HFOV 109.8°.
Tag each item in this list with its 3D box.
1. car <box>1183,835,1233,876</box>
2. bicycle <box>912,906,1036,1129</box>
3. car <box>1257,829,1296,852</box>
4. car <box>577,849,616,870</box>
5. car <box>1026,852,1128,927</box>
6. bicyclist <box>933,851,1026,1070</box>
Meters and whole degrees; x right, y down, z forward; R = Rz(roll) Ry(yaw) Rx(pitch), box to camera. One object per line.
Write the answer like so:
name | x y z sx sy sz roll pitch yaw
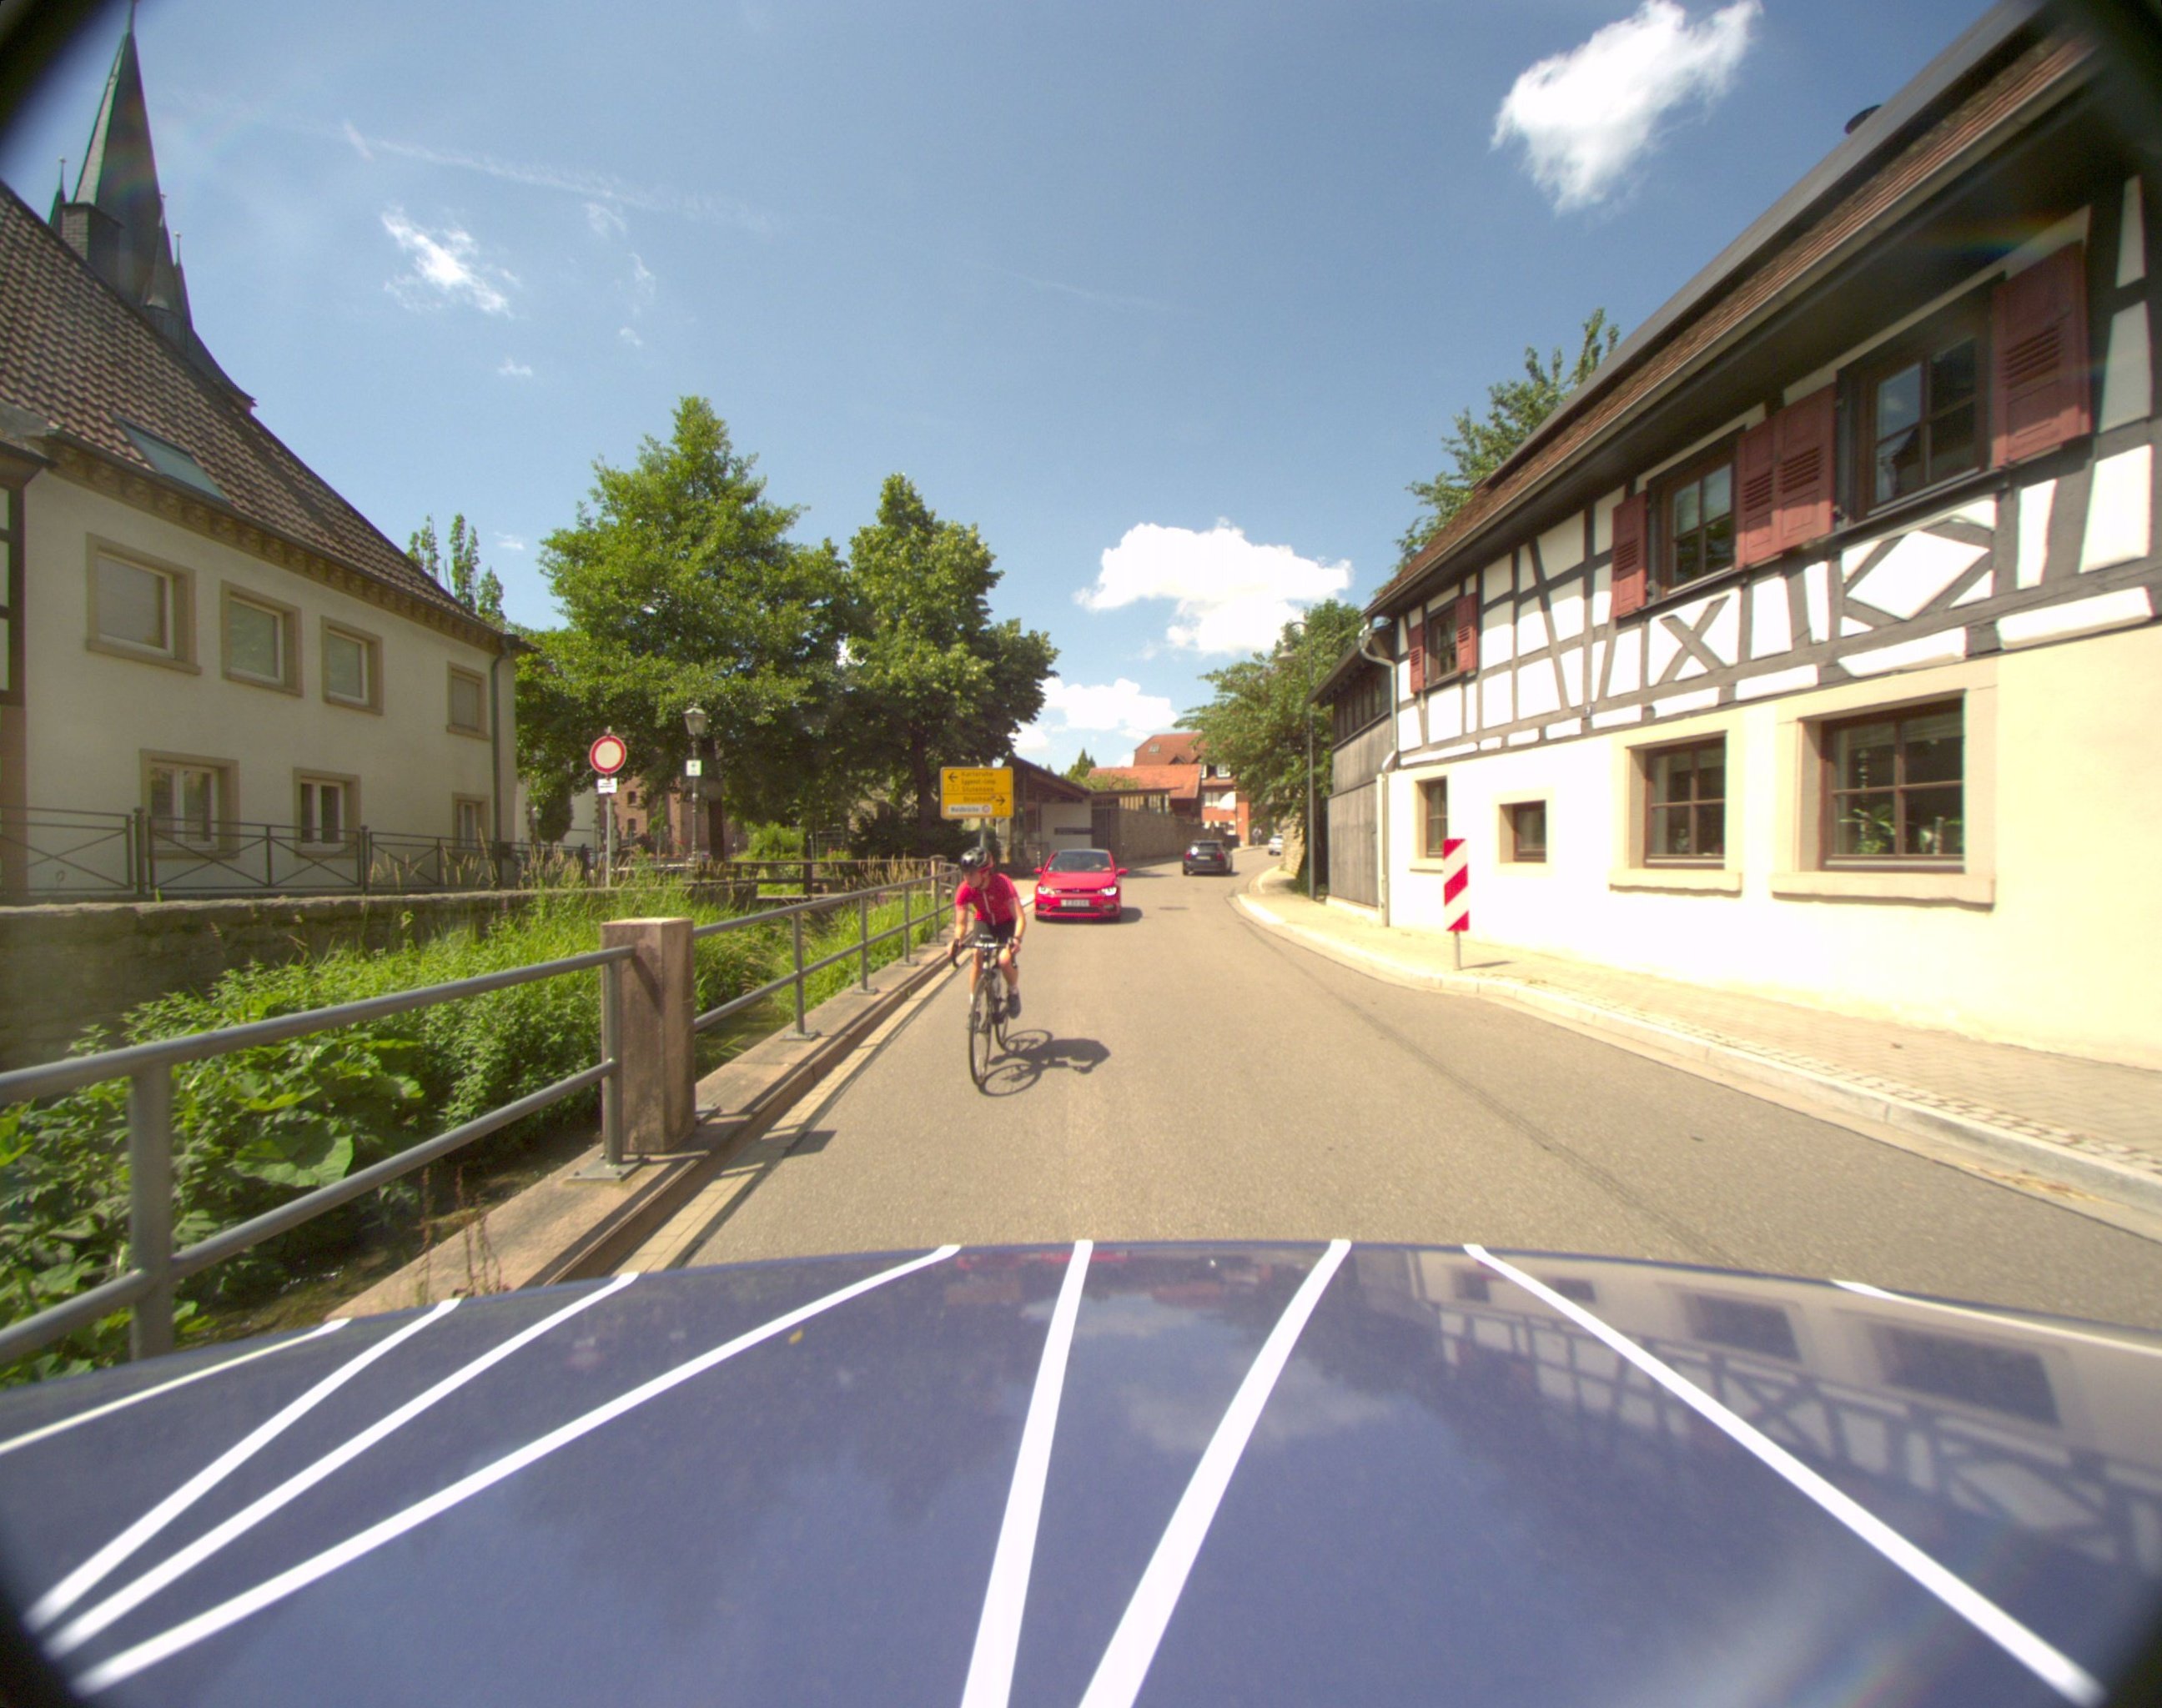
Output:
car | 5.360 -0.005 31.693 1.701 1.458 4.438 1 3 14
bicycle | -0.645 0.959 5.160 0.531 1.070 2.054 0 0 1
car | 13.295 -0.902 51.424 1.897 1.492 4.621 1 1 23
car | -38.521 0.409 60.490 1.672 1.496 3.804 -1 1 -18
car | 0.024 0.642 15.555 1.668 1.344 3.496 0 0 7
bicyclist | -0.675 0.678 5.215 0.532 1.396 0.755 0 1 1
